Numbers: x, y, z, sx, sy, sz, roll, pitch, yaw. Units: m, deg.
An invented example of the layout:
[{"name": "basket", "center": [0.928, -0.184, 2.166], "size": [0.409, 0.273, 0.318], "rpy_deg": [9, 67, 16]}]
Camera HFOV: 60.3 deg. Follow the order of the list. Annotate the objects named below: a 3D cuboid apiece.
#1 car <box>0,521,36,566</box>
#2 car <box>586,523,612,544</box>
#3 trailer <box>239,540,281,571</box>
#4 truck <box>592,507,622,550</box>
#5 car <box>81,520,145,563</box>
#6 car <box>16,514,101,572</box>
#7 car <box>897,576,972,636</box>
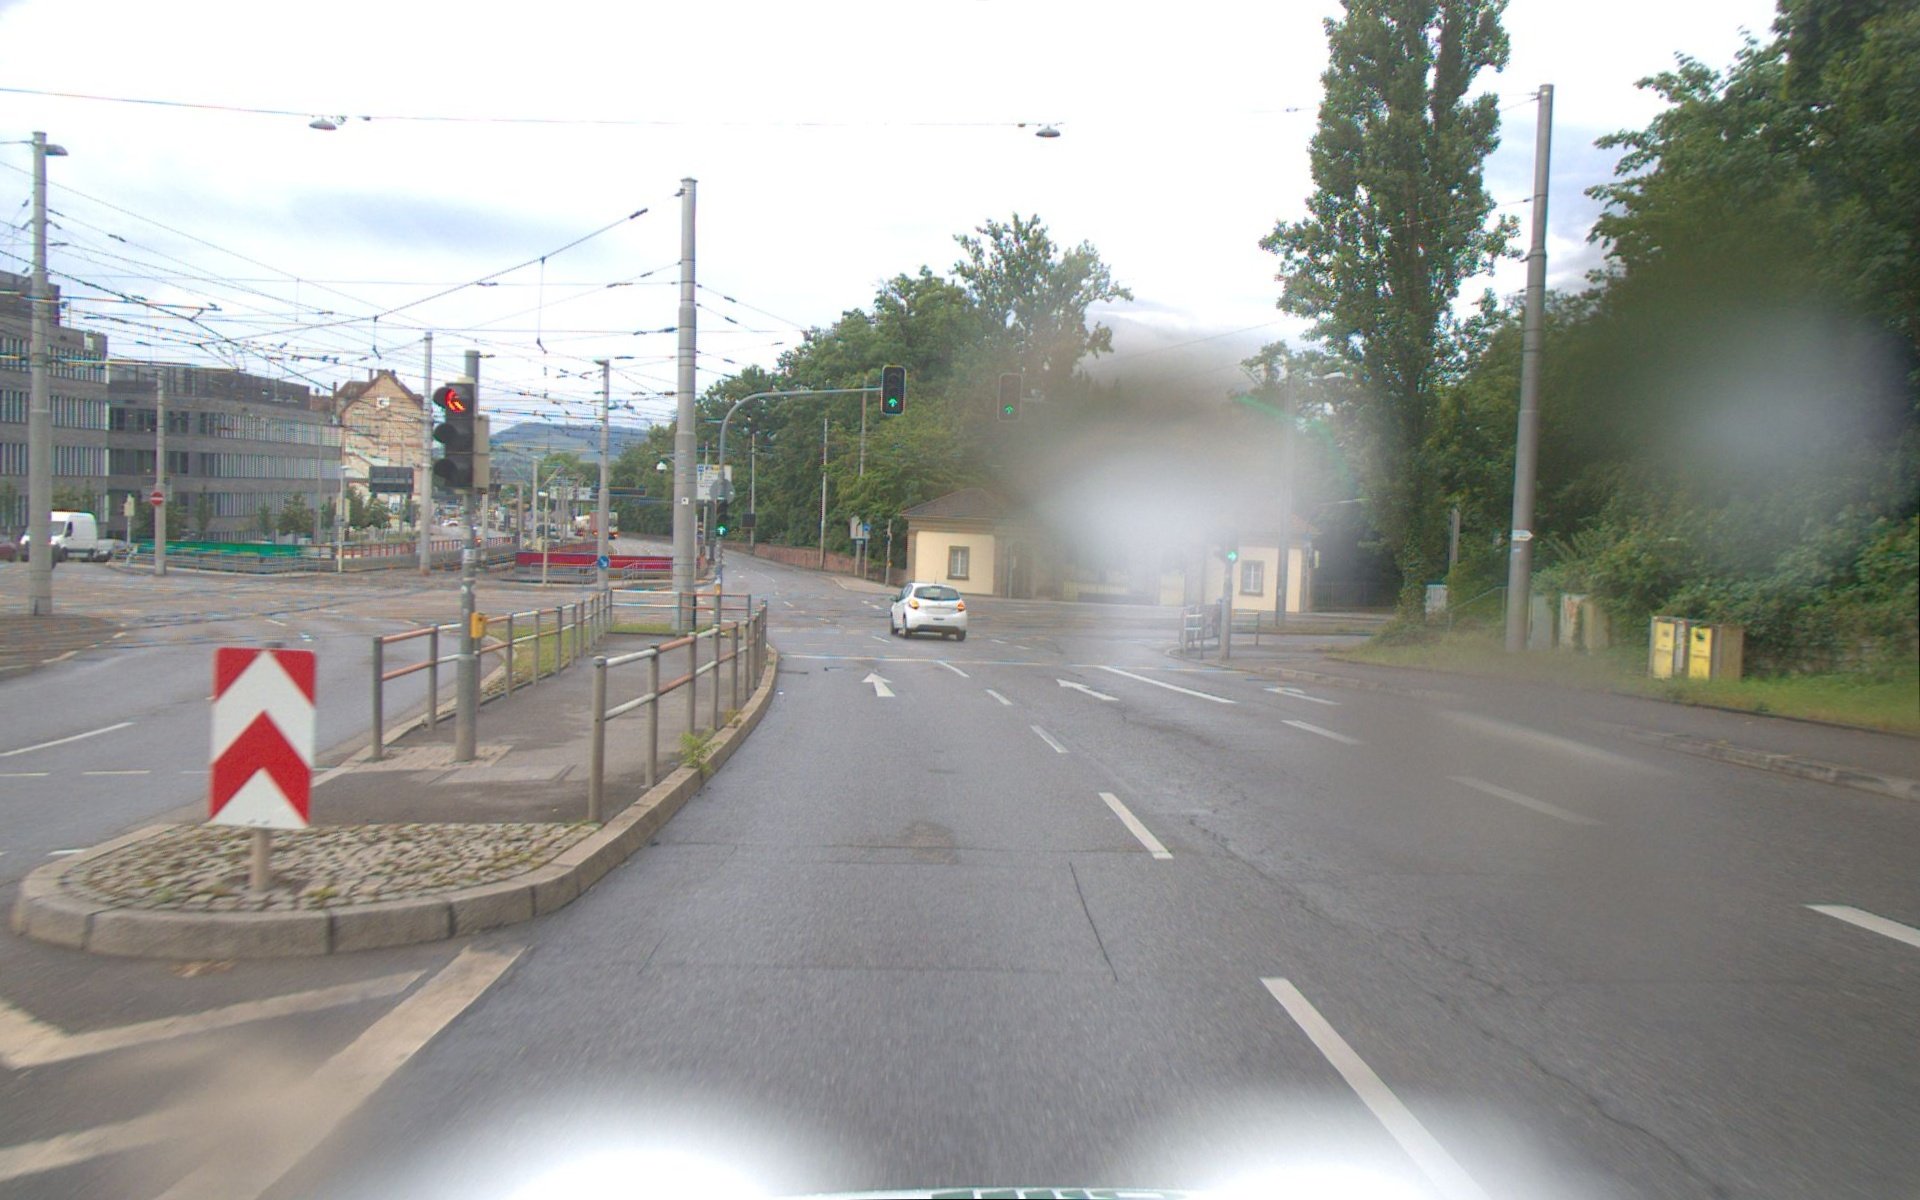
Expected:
[{"name": "car", "center": [-49.197, -2.877, 84.643], "size": [1.956, 2.190, 4.239], "rpy_deg": [1, 0, -9]}, {"name": "car", "center": [-33.360, -6.165, 152.751], "size": [1.962, 1.905, 3.981], "rpy_deg": [0, 2, -18]}, {"name": "trailer", "center": [-51.541, -3.252, 121.836], "size": [1.792, 2.110, 4.264], "rpy_deg": [2, -1, -10]}, {"name": "truck", "center": [-51.408, -10.365, 240.632], "size": [3.409, 5.495, 11.998], "rpy_deg": [2, -1, -16]}, {"name": "car", "center": [-48.554, -3.310, 94.914], "size": [1.956, 2.191, 4.238], "rpy_deg": [1, -2, -9]}, {"name": "car", "center": [-46.303, -2.930, 85.107], "size": [1.956, 2.881, 5.707], "rpy_deg": [-1, 2, -9]}, {"name": "car", "center": [-0.705, 0.200, 44.993], "size": [1.916, 1.514, 3.998], "rpy_deg": [1, -1, -2]}]
